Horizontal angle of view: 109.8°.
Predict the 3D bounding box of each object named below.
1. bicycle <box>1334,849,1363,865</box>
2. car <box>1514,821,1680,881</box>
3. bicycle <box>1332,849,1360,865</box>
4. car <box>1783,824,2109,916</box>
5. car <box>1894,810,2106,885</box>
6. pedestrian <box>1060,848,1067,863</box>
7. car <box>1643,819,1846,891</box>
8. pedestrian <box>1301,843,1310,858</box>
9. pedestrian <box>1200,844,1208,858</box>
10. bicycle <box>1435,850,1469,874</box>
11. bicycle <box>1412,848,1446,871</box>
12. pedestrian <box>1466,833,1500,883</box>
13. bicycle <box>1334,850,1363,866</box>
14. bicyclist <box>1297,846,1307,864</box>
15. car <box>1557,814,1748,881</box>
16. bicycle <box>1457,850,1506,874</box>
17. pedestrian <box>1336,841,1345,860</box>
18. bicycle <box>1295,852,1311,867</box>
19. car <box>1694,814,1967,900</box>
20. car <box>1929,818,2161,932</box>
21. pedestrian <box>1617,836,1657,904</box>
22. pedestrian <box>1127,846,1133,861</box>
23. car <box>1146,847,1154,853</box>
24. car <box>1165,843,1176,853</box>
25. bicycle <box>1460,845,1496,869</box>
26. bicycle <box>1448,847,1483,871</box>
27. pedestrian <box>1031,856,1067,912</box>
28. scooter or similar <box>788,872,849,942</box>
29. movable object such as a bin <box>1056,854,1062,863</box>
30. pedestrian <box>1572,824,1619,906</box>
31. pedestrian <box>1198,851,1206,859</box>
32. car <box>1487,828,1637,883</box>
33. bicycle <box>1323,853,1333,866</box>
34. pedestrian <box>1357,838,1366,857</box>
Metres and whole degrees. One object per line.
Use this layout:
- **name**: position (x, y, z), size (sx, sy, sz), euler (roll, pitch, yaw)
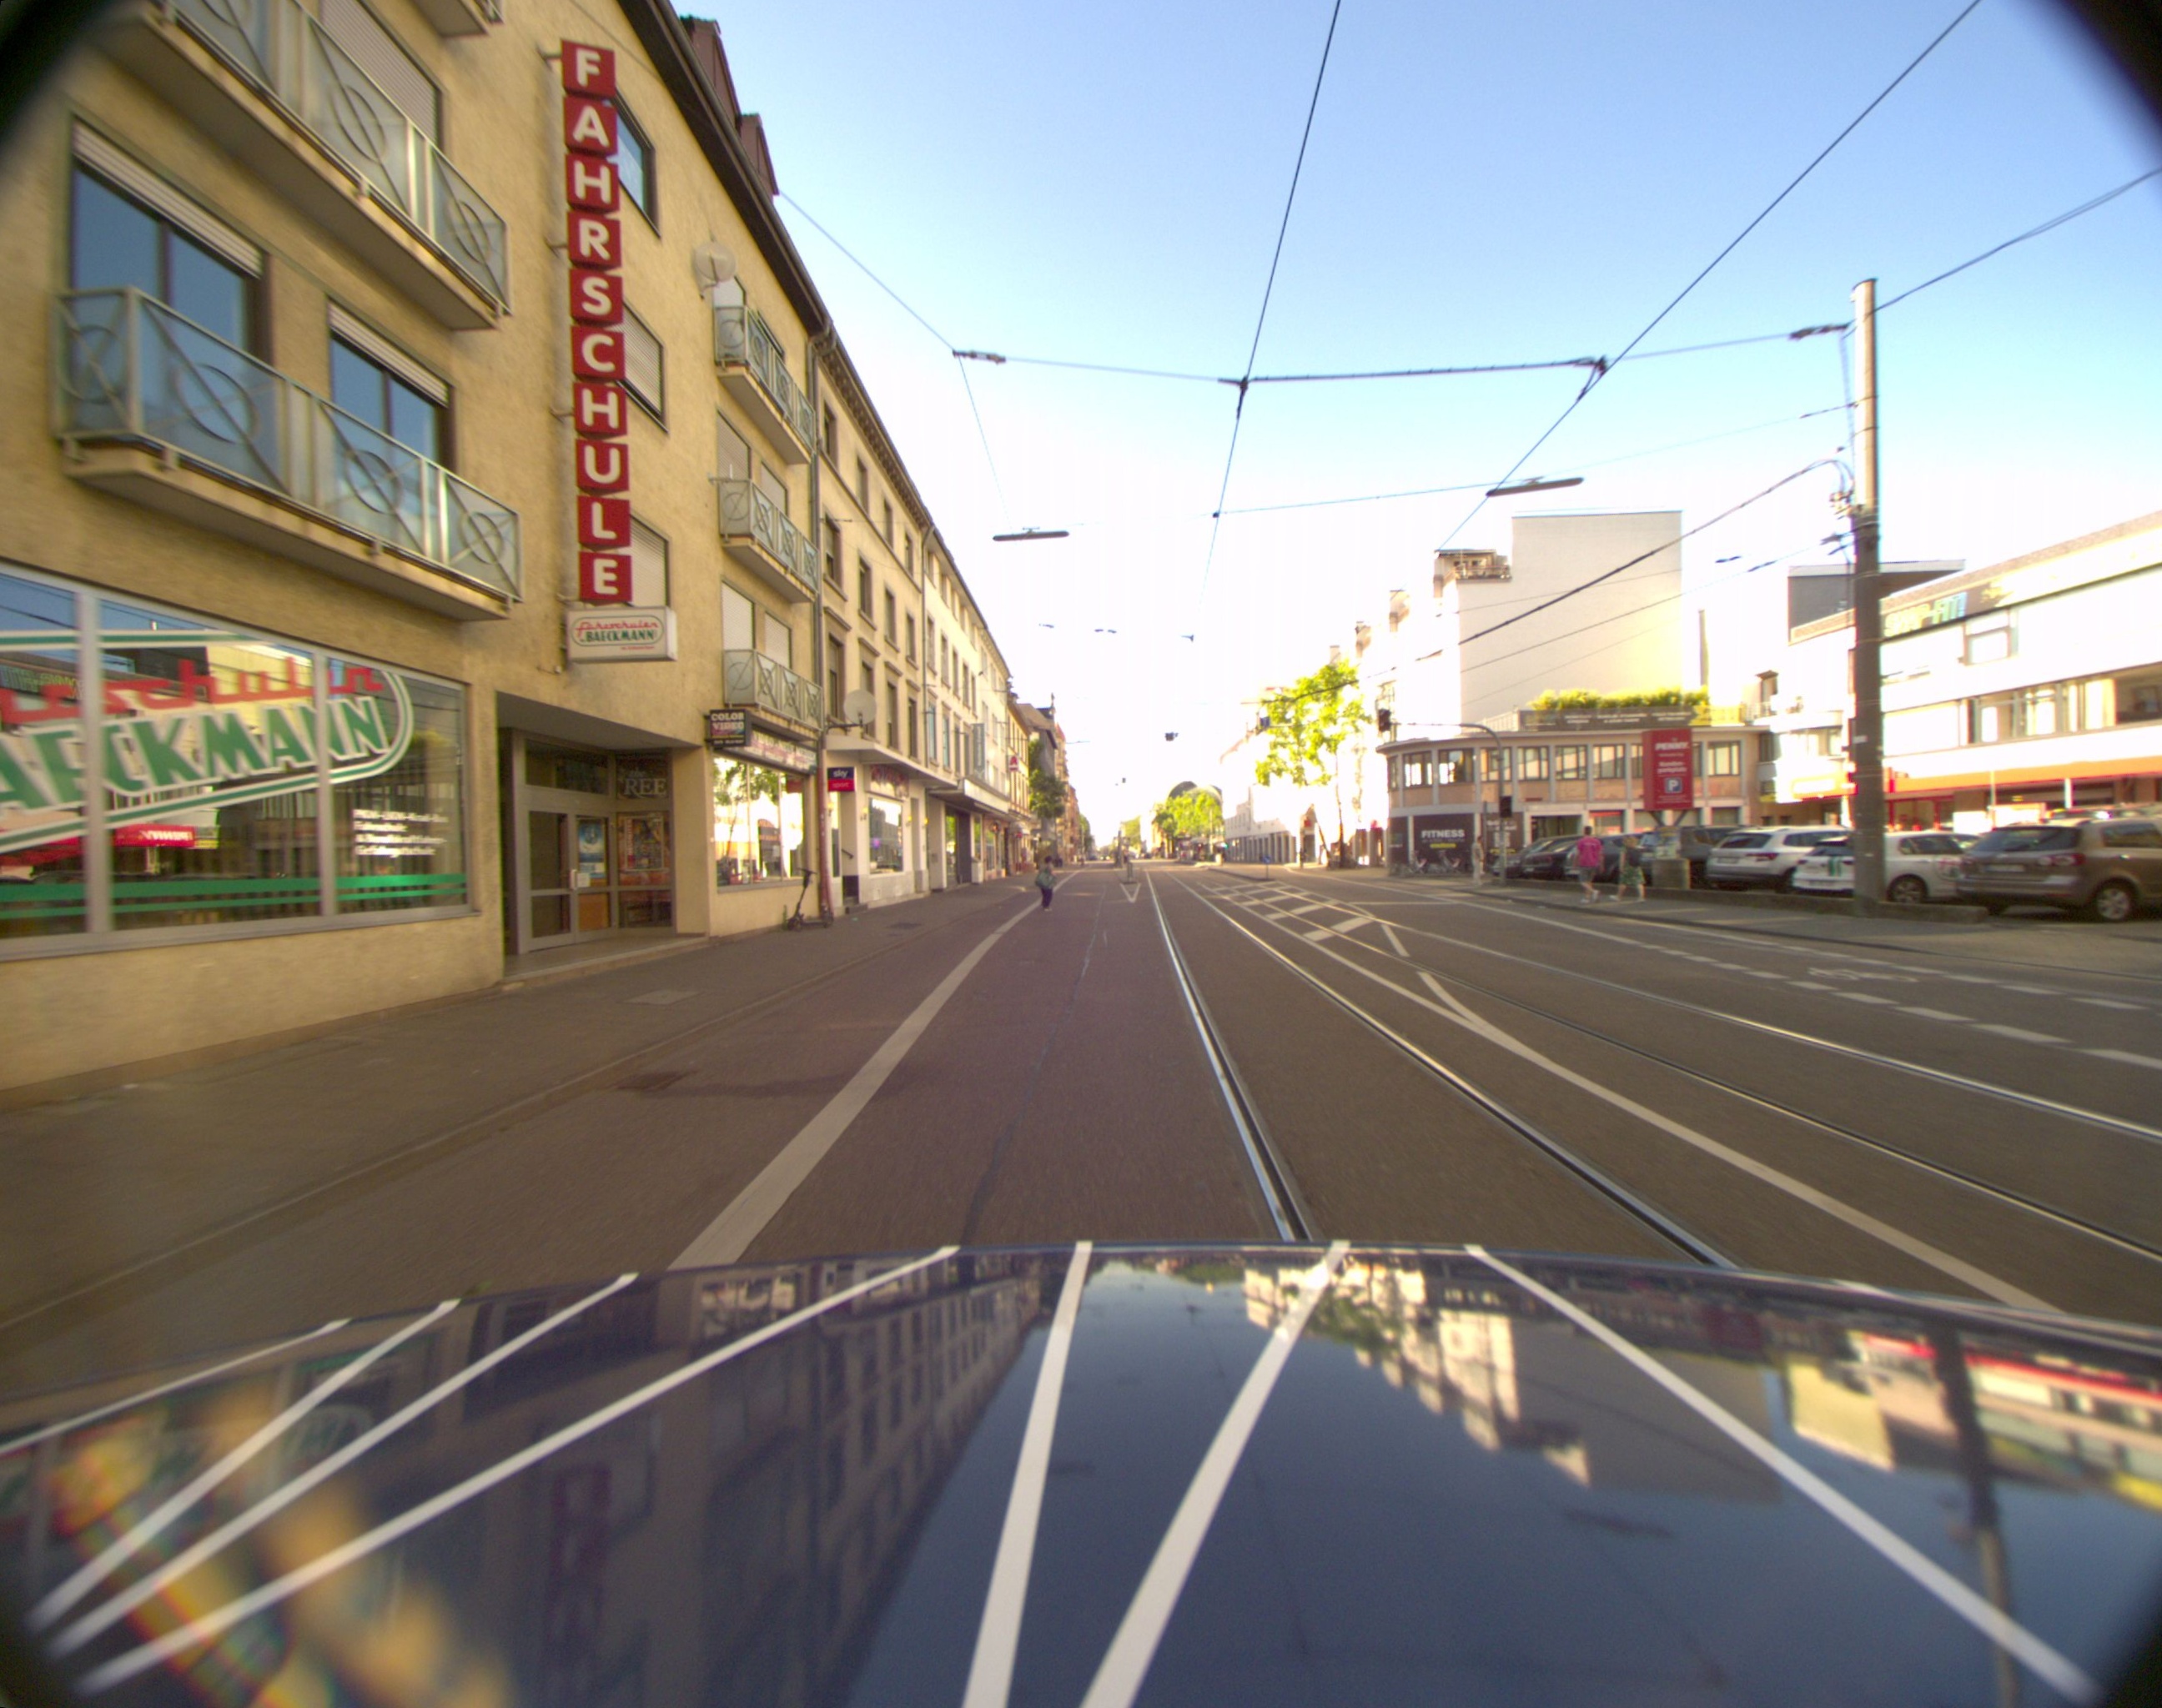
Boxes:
- **bicycle**: position (19.000, 0.199, 54.033), size (1.876, 1.071, 0.465), euler (-1, 1, 10)
- **car**: position (17.006, -0.098, 25.178), size (4.243, 1.801, 1.785), euler (-1, 1, 2)
- **bicycle**: position (19.174, 0.202, 55.045), size (1.876, 1.071, 0.465), euler (-1, 1, 10)
- **car**: position (16.686, 0.291, 14.839), size (4.243, 1.600, 1.785), euler (-1, 1, 2)
- **car**: position (24.366, -0.174, 20.237), size (3.587, 1.738, 1.695), euler (-3, 1, 0)
- **pedestrian**: position (-2.043, 0.150, 87.427), size (0.695, 1.680, 0.688), euler (2, 1, 2)
- **car**: position (17.199, 0.023, 19.841), size (3.698, 1.663, 1.785), euler (-2, 1, 2)
- **pedestrian**: position (24.024, -0.364, 81.402), size (0.747, 1.635, 0.731), euler (-1, 1, 2)
- **pedestrian**: position (14.128, -0.354, 87.580), size (0.794, 1.635, 0.747), euler (-1, 1, 2)
- **bicycle**: position (16.914, 0.352, 34.649), size (0.464, 1.073, 1.878), euler (-1, 0, -6)
- **bicycle**: position (16.171, 0.251, 35.334), size (0.525, 1.030, 1.878), euler (-1, 0, -6)
- **pedestrian**: position (14.257, 0.132, 26.960), size (0.715, 1.754, 0.780), euler (-2, 1, -5)
- **bicycle**: position (18.840, 0.263, 53.531), size (1.876, 1.071, 0.465), euler (-1, 1, 10)
- **bicyclist**: position (17.348, 0.068, 59.757), size (0.564, 1.354, 0.718), euler (-1, 2, -1)
- **car**: position (16.764, -0.194, 22.454), size (4.243, 1.801, 1.785), euler (-1, 1, 2)
- **bicycle**: position (17.356, 0.349, 32.969), size (1.874, 1.030, 0.426), euler (-1, 1, 27)
- **pedestrian**: position (22.419, -0.316, 65.645), size (0.563, 1.635, 0.523), euler (-1, 1, 2)
- **bicycle**: position (17.453, 0.429, 59.745), size (0.565, 1.117, 2.003), euler (-9, 1, 1)
- **car**: position (16.659, 0.039, 17.071), size (4.243, 1.802, 1.784), euler (0, 3, 2)
- **car**: position (16.727, 0.268, 12.157), size (4.243, 1.539, 1.785), euler (-3, 2, 2)
- **pedestrian**: position (13.374, 0.381, 18.278), size (0.573, 1.608, 0.499), euler (-1, 1, 0)
- **pedestrian**: position (5.598, -0.037, 86.593), size (0.716, 1.635, 0.400), euler (-2, 1, 4)
- **car**: position (18.973, -0.979, 210.219), size (1.998, 1.608, 4.000), euler (-2, 0, 2)
- **car**: position (19.585, -1.280, 166.287), size (1.884, 2.001, 4.000), euler (-3, -1, 0)
- **bicycle**: position (17.963, 0.124, 34.422), size (0.464, 1.081, 1.878), euler (-1, 1, -6)
- **bicycle**: position (17.461, 0.219, 34.534), size (0.464, 1.030, 1.878), euler (-1, 0, -6)
- **pedestrian**: position (-0.902, 0.842, 21.578), size (0.782, 1.551, 0.649), euler (-2, 1, -28)
- **scooter or similar**: position (-5.189, 1.018, 15.063), size (0.410, 1.274, 1.285), euler (3, 1, 18)
- **movable object such as a bin**: position (-2.678, 0.538, 91.590), size (0.717, 1.062, 0.637), euler (-2, 0, 1)
- **pedestrian**: position (12.469, 0.261, 18.412), size (0.639, 1.935, 0.709), euler (-1, 1, 0)
- **pedestrian**: position (14.552, 0.113, 91.548), size (0.794, 0.982, 0.747), euler (-1, 1, 2)
- **car**: position (17.331, 0.032, 27.531), size (4.243, 1.753, 1.785), euler (-2, 1, 2)
- **bicycle**: position (17.790, 0.408, 54.688), size (0.470, 0.926, 1.755), euler (-1, 1, 11)
- **pedestrian**: position (24.164, -0.562, 65.507), size (0.563, 1.635, 0.523), euler (-1, 1, 2)
